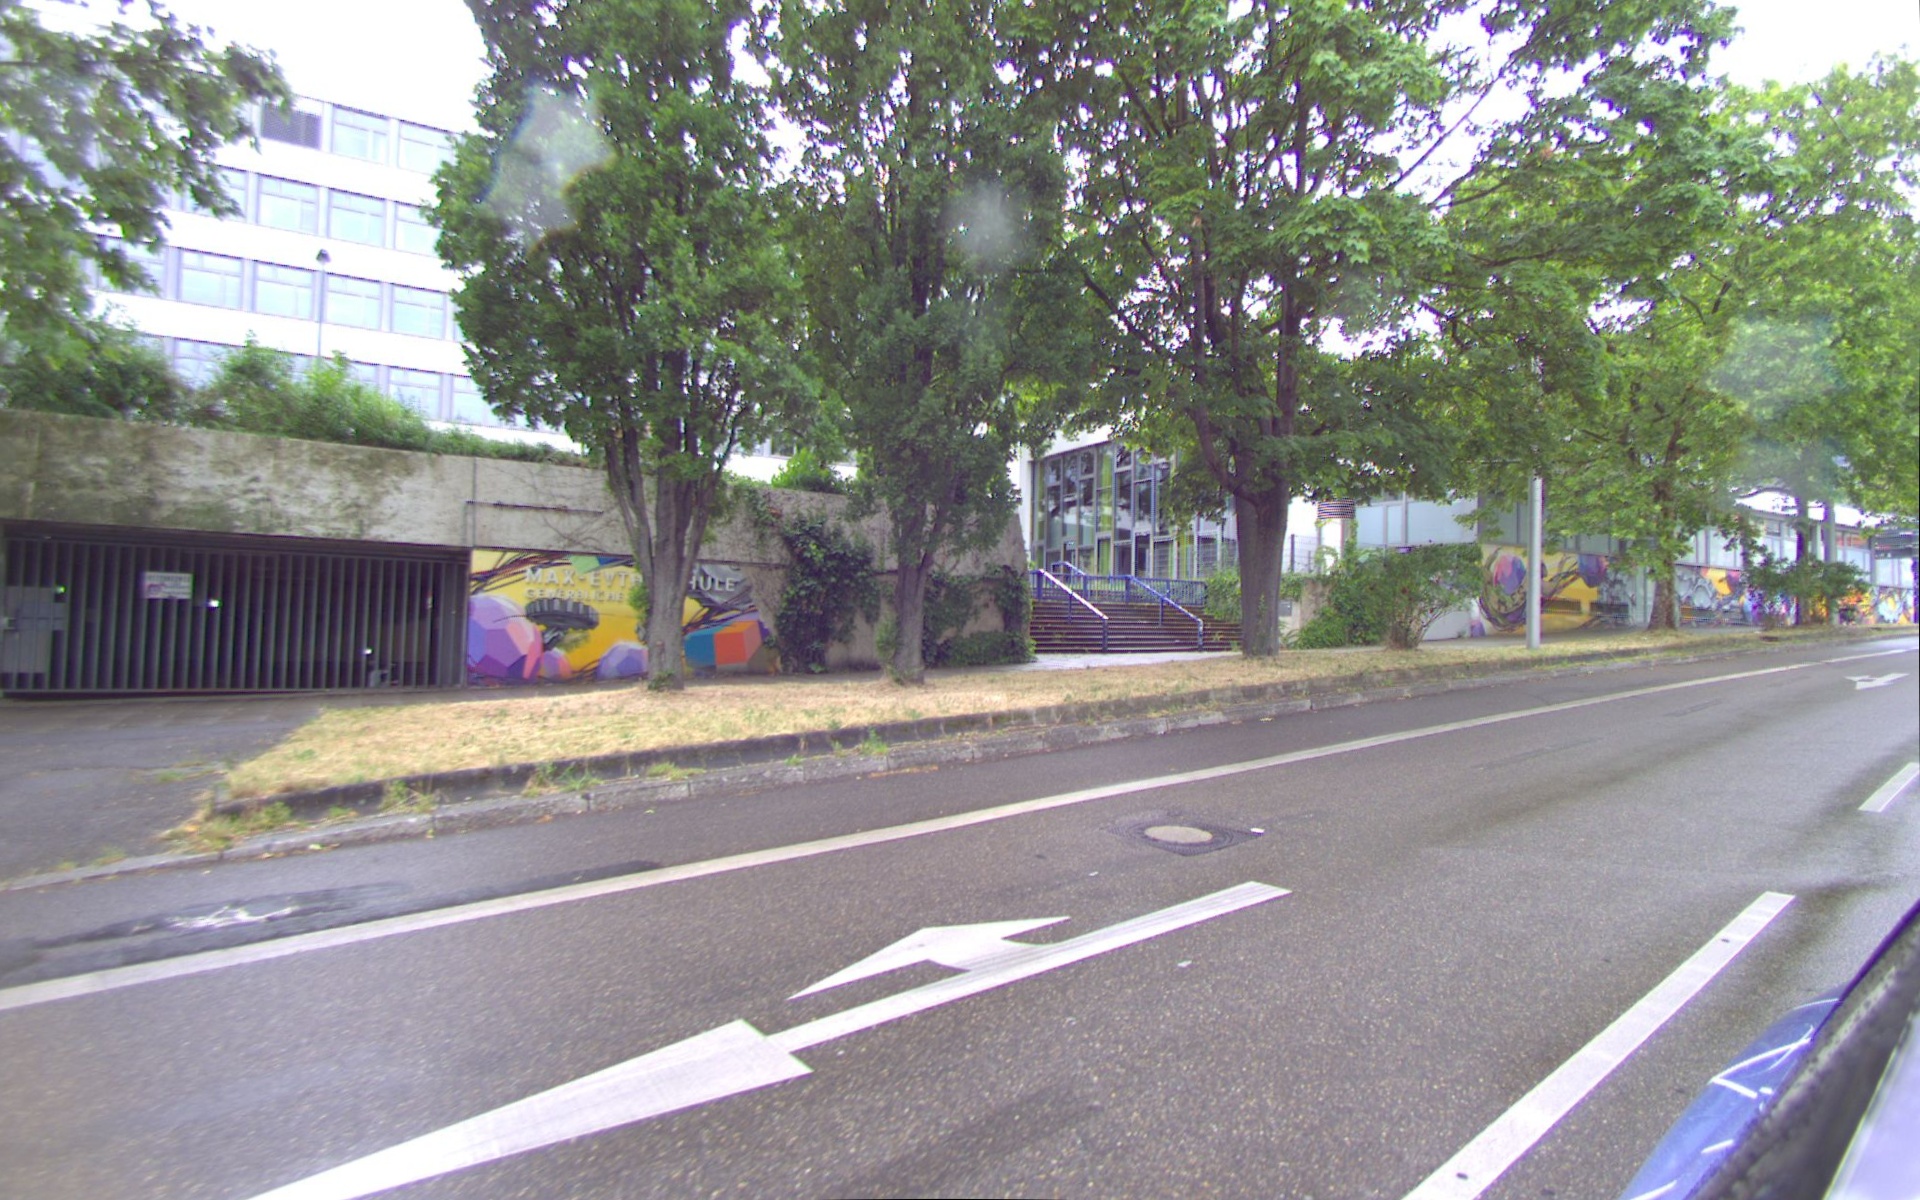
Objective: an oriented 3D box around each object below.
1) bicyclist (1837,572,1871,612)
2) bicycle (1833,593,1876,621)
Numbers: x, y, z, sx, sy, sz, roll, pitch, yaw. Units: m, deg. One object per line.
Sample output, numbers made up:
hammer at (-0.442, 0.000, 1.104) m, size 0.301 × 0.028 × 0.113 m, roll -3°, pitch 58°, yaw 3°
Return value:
bicyclist at (37.133, -0.332, 42.023) m, size 1.026 × 1.648 × 0.809 m, roll 0°, pitch 0°, yaw -33°
bicycle at (37.075, 0.275, 41.955) m, size 2.156 × 1.126 × 0.809 m, roll 0°, pitch 0°, yaw -34°
